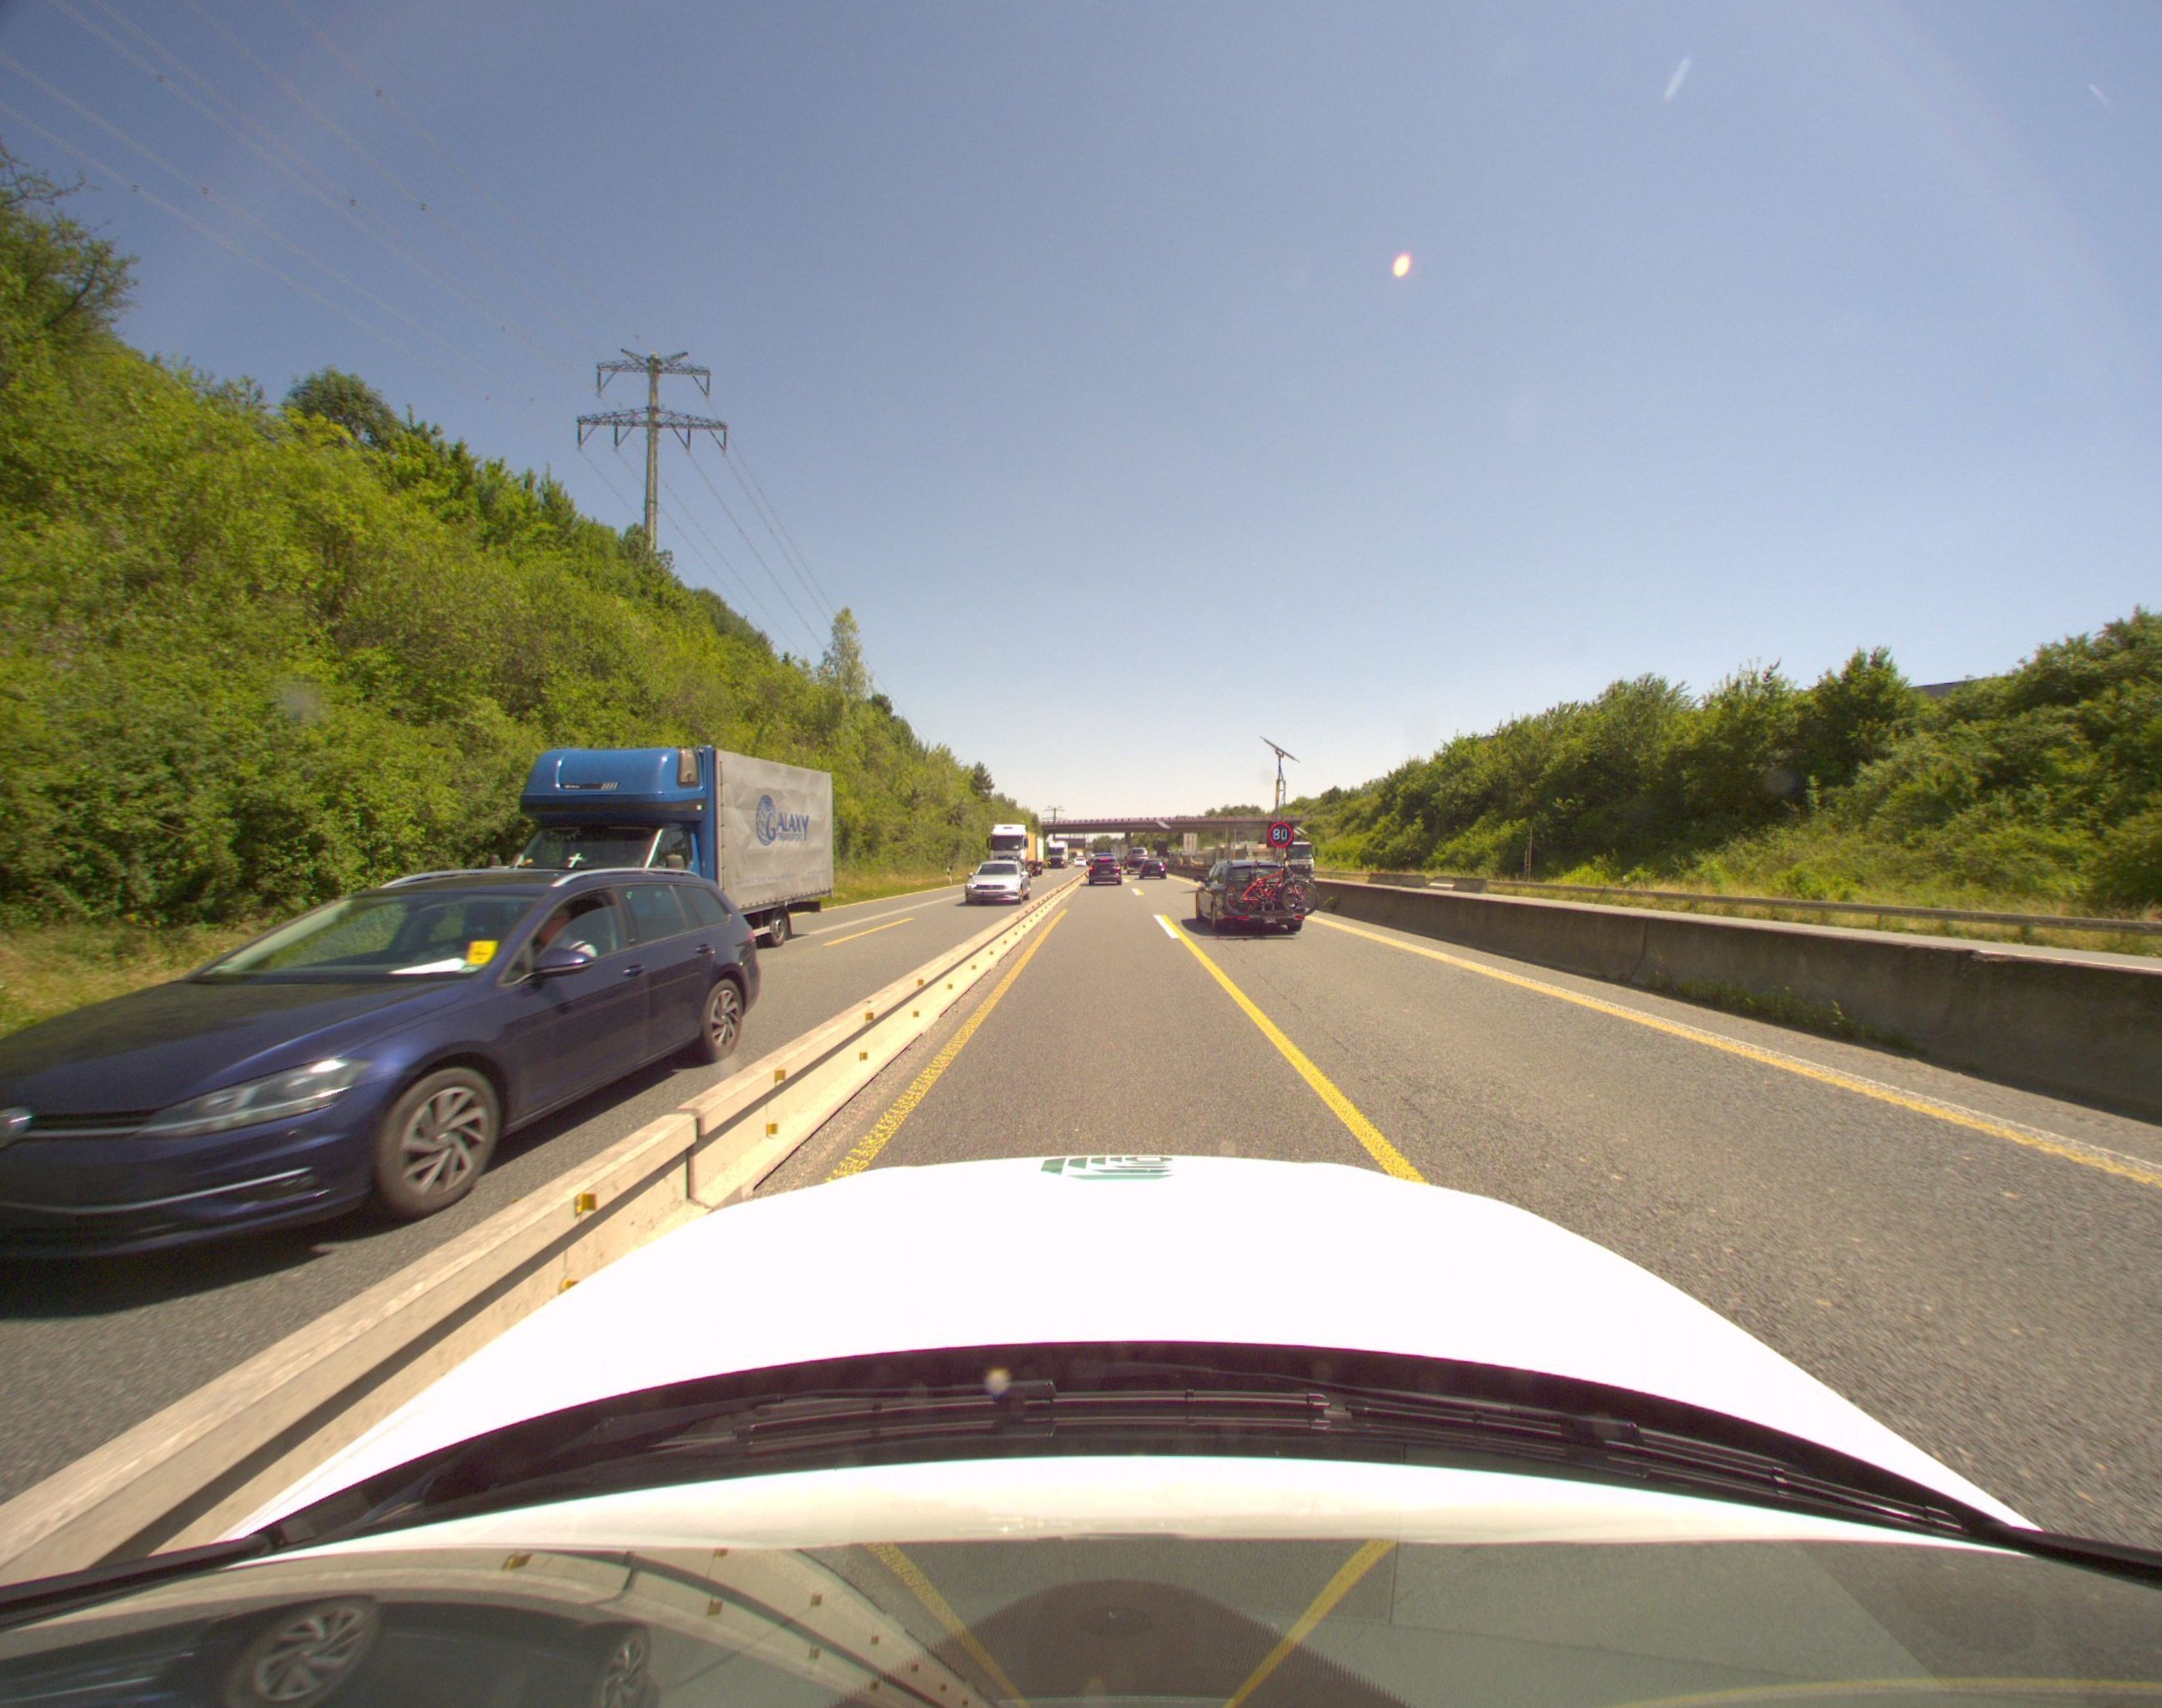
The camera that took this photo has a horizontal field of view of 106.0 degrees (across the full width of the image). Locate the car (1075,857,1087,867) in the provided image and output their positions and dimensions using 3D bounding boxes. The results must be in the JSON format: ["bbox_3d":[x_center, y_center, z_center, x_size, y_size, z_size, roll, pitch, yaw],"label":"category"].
[{"bbox_3d":[-0.001,1.351,132.478,1.818,1.631,4.151,0,-1,1],"label":"car"}]

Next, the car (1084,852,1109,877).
[{"bbox_3d":[1.293,0.818,64.531,1.892,1.969,4.278,0,-1,2],"label":"car"}]

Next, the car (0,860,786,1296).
[{"bbox_3d":[-3.568,0.797,5.014,1.754,1.490,4.404,0,-1,2],"label":"car"}]

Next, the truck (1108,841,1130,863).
[{"bbox_3d":[6.685,-0.341,144.754,3.282,3.845,10.105,0,0,-1],"label":"truck"}]

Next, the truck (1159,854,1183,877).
[{"bbox_3d":[14.123,1.768,128.448,2.678,3.557,9.325,0,0,0],"label":"truck"}]

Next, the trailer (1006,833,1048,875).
[{"bbox_3d":[-4.620,-0.004,70.899,2.640,3.336,8.923,1,0,2],"label":"trailer"}]

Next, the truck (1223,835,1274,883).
[{"bbox_3d":[13.287,0.384,65.250,2.523,3.511,8.949,0,0,2],"label":"truck"}]

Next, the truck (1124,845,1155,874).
[{"bbox_3d":[5.308,0.503,75.100,2.397,2.558,7.499,0,0,0],"label":"truck"}]

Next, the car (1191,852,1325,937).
[{"bbox_3d":[3.462,0.748,16.883,1.892,1.490,4.949,0,-1,2],"label":"car"}]

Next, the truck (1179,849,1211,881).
[{"bbox_3d":[13.312,1.199,95.604,2.677,3.557,9.605,0,0,1],"label":"truck"}]

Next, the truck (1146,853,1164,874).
[{"bbox_3d":[14.336,1.787,158.690,2.678,3.856,9.326,0,0,1],"label":"truck"}]

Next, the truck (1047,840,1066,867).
[{"bbox_3d":[-3.654,-0.069,123.781,2.401,3.992,10.353,0,0,1],"label":"truck"}]

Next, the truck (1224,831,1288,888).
[{"bbox_3d":[11.631,0.337,54.857,2.524,3.511,9.098,0,0,1],"label":"truck"}]

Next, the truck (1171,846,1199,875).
[{"bbox_3d":[13.616,0.856,107.331,2.678,3.557,9.406,0,0,1],"label":"truck"}]

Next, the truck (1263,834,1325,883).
[{"bbox_3d":[16.166,0.335,62.396,2.677,3.511,8.382,0,0,1],"label":"truck"}]

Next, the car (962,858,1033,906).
[{"bbox_3d":[-2.779,0.914,28.152,1.835,1.490,4.511,-2,-1,1],"label":"car"}]

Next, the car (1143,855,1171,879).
[{"bbox_3d":[5.301,0.897,57.322,1.891,1.585,4.280,0,-1,4],"label":"car"}]

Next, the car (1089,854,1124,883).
[{"bbox_3d":[1.460,0.800,46.059,1.892,1.505,4.278,0,0,2],"label":"car"}]

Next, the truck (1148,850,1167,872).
[{"bbox_3d":[13.785,1.278,146.855,2.678,3.761,9.326,0,0,1],"label":"truck"}]

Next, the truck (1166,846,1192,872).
[{"bbox_3d":[14.334,0.739,119.403,2.678,3.557,9.325,0,0,0],"label":"truck"}]

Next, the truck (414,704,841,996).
[{"bbox_3d":[-6.306,-0.045,13.080,2.396,3.330,7.504,0,0,2],"label":"truck"}]

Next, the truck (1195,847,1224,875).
[{"bbox_3d":[16.585,0.882,105.724,2.677,3.378,9.607,0,0,2],"label":"truck"}]

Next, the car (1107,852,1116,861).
[{"bbox_3d":[6.709,0.625,180.285,1.892,1.969,4.278,0,-1,2],"label":"car"}]

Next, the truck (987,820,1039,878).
[{"bbox_3d":[-4.987,-0.358,61.614,2.639,3.992,9.655,1,0,2],"label":"truck"}]

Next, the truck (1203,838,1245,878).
[{"bbox_3d":[13.426,0.405,77.254,2.529,3.557,9.604,0,0,1],"label":"truck"}]
